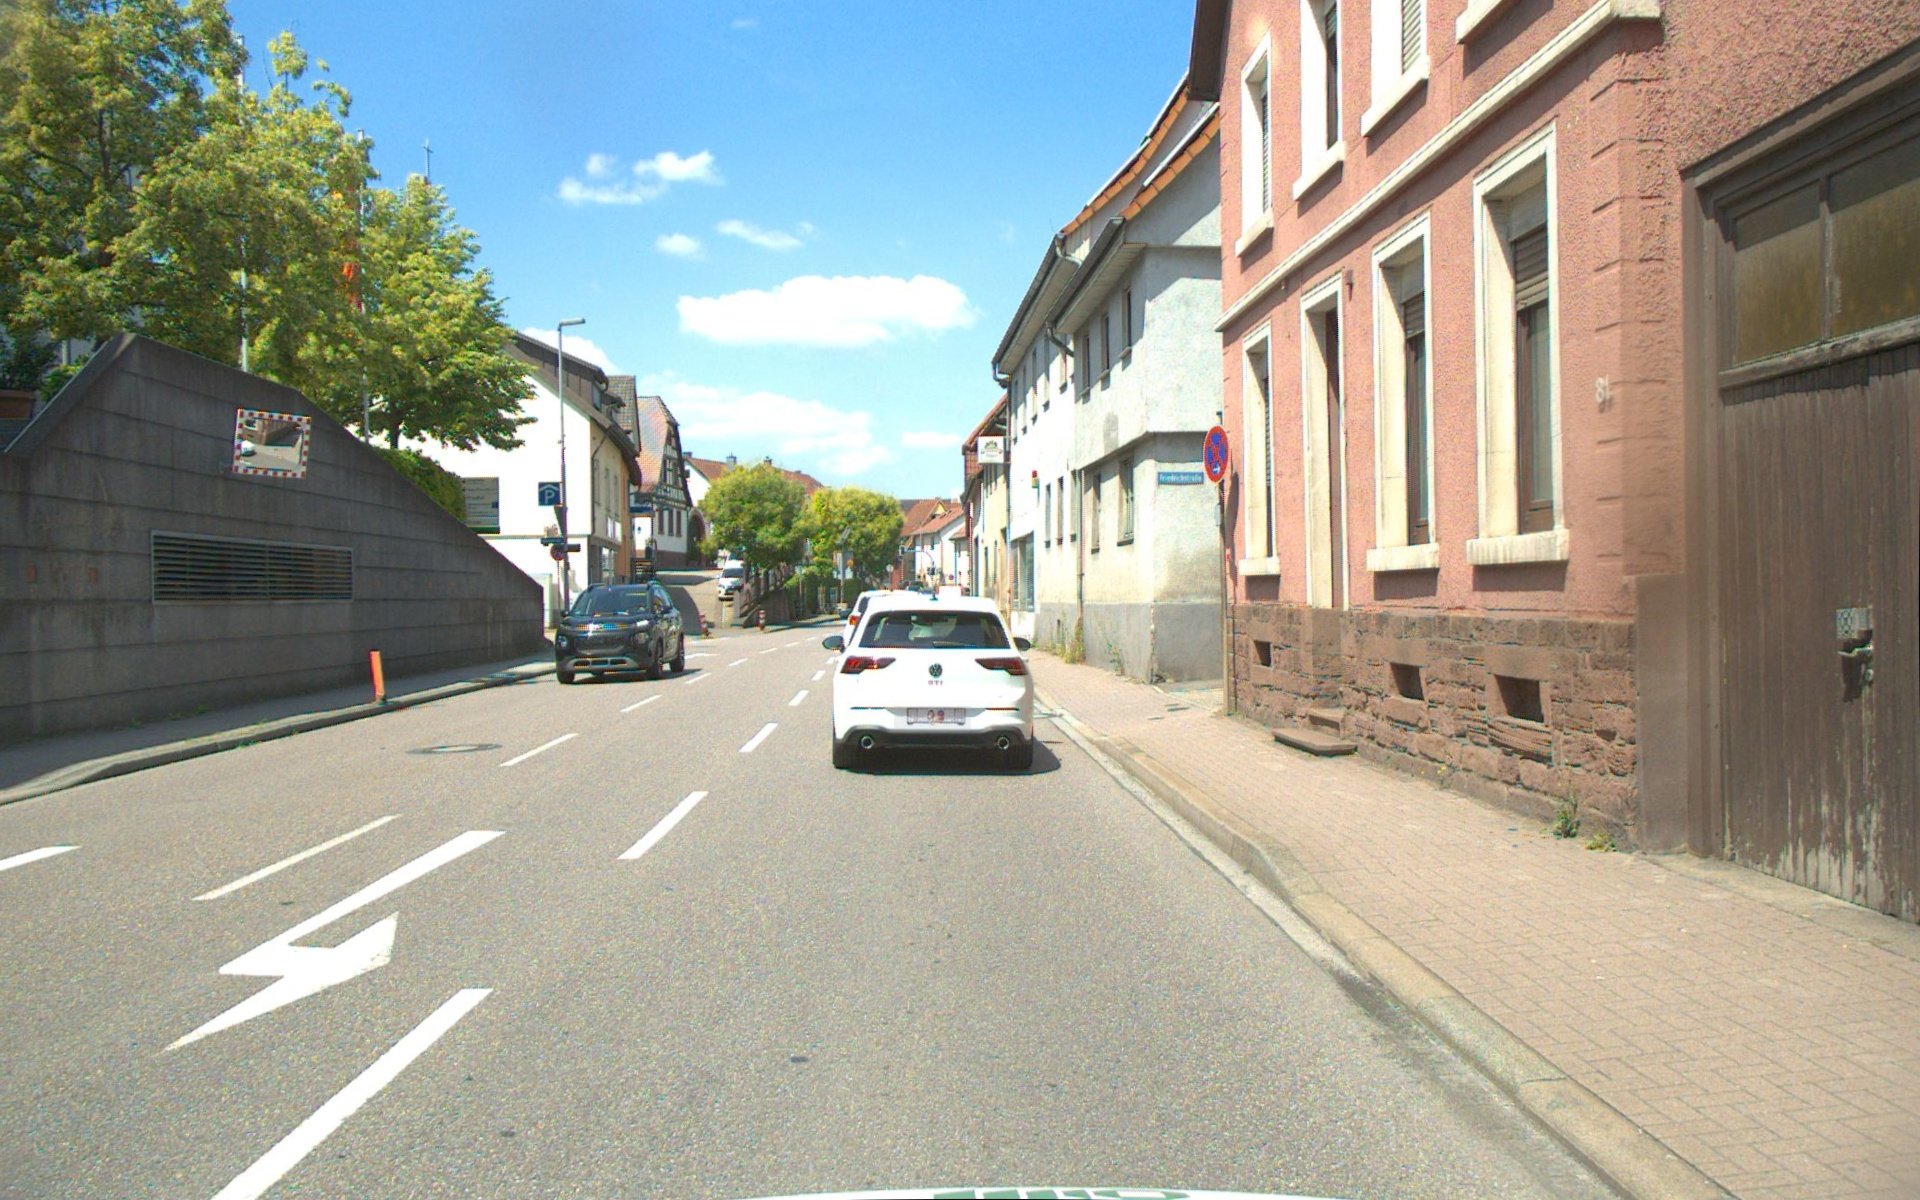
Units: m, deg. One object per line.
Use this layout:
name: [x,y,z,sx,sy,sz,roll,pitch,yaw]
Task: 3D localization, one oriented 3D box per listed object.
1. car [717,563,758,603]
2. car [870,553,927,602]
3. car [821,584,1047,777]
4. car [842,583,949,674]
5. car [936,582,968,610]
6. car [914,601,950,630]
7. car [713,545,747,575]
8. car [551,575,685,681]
car: [-10.855,-0.839,80.706,1.660,1.569,3.856,0,6,-3]
car: [-2.039,-0.698,54.479,1.771,1.493,3.998,2,0,-3]
car: [-0.134,0.651,15.253,1.770,1.493,4.001,2,0,2]
car: [-1.236,0.488,30.086,1.772,1.493,3.997,2,0,-4]
car: [-0.528,-0.280,110.022,1.738,1.796,4.003,0,0,5]
car: [-1.597,0.853,94.484,1.738,1.565,4.002,0,0,3]
car: [-12.965,-2.256,93.347,1.545,1.385,3.856,0,6,-3]
car: [-5.857,0.436,28.730,1.636,1.686,4.015,-1,0,-3]
